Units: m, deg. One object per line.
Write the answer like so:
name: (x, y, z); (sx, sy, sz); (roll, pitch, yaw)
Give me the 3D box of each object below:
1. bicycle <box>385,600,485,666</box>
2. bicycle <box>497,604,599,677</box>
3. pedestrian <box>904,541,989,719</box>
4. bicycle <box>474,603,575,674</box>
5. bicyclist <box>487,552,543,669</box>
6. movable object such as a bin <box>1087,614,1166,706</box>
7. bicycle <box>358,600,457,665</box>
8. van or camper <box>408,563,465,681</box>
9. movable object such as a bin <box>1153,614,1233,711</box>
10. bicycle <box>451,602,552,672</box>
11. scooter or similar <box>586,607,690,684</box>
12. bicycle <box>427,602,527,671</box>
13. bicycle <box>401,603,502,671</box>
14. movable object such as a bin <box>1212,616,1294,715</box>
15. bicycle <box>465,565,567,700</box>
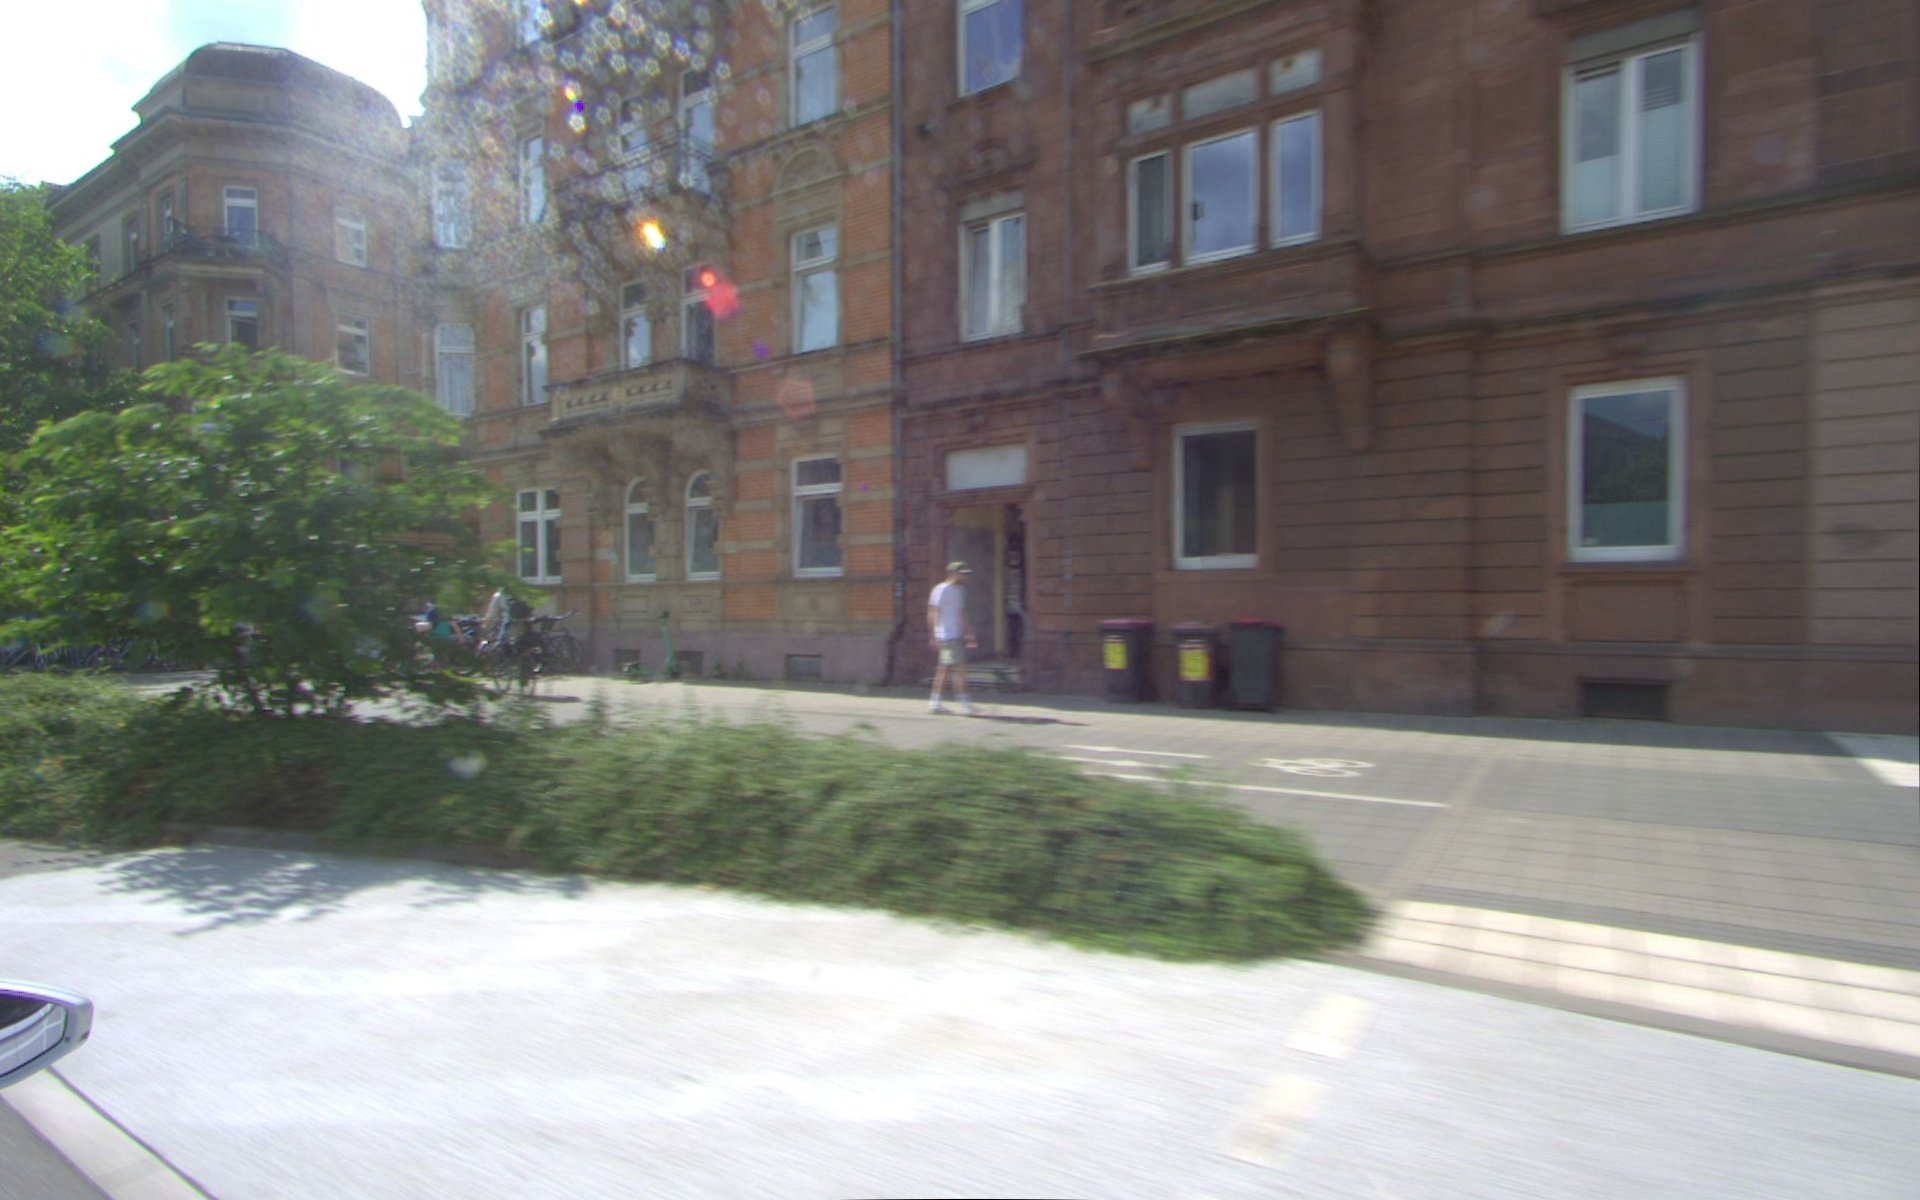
bicycle: (-10.682, 0.654, 20.427); (0.460, 1.285, 1.763); (3, 2, 37)
bicycle: (-7.694, 0.732, 18.764); (0.460, 1.285, 1.763); (3, 2, 37)
pedestrian: (-0.154, 0.343, 11.991); (0.705, 2.041, 0.765); (0, 1, 35)
bicycle: (-8.230, 0.703, 18.992); (0.460, 1.285, 1.739); (3, 2, 37)
bicyclist: (-6.782, 0.154, 15.266); (0.816, 1.742, 0.426); (1, 1, 35)
movable object such as a bin: (2.143, 0.746, 12.842); (0.765, 1.122, 0.783); (0, 1, 32)
bicycle: (-11.536, 0.660, 20.958); (0.460, 1.285, 1.763); (3, 2, 37)
van or camper: (-9.282, 0.378, 17.760); (0.629, 2.041, 0.664); (0, 1, 34)
movable object such as a bin: (2.882, 0.746, 12.361); (0.765, 1.122, 0.783); (0, 1, 32)
bicycle: (-8.819, 0.691, 19.313); (0.460, 1.285, 1.763); (3, 2, 37)
scooter or similar: (-5.519, 0.750, 17.266); (0.460, 1.201, 1.764); (0, 2, 34)
bicycle: (-9.476, 0.695, 19.701); (0.460, 1.285, 1.763); (3, 2, 37)
bicycle: (-10.174, 0.723, 20.084); (0.460, 1.285, 1.763); (3, 2, 37)
movable object such as a bin: (3.508, 0.756, 11.955); (0.765, 1.122, 0.783); (0, 1, 32)
bicycle: (-6.740, 0.465, 15.167); (1.568, 1.951, 0.681); (0, 1, 35)
